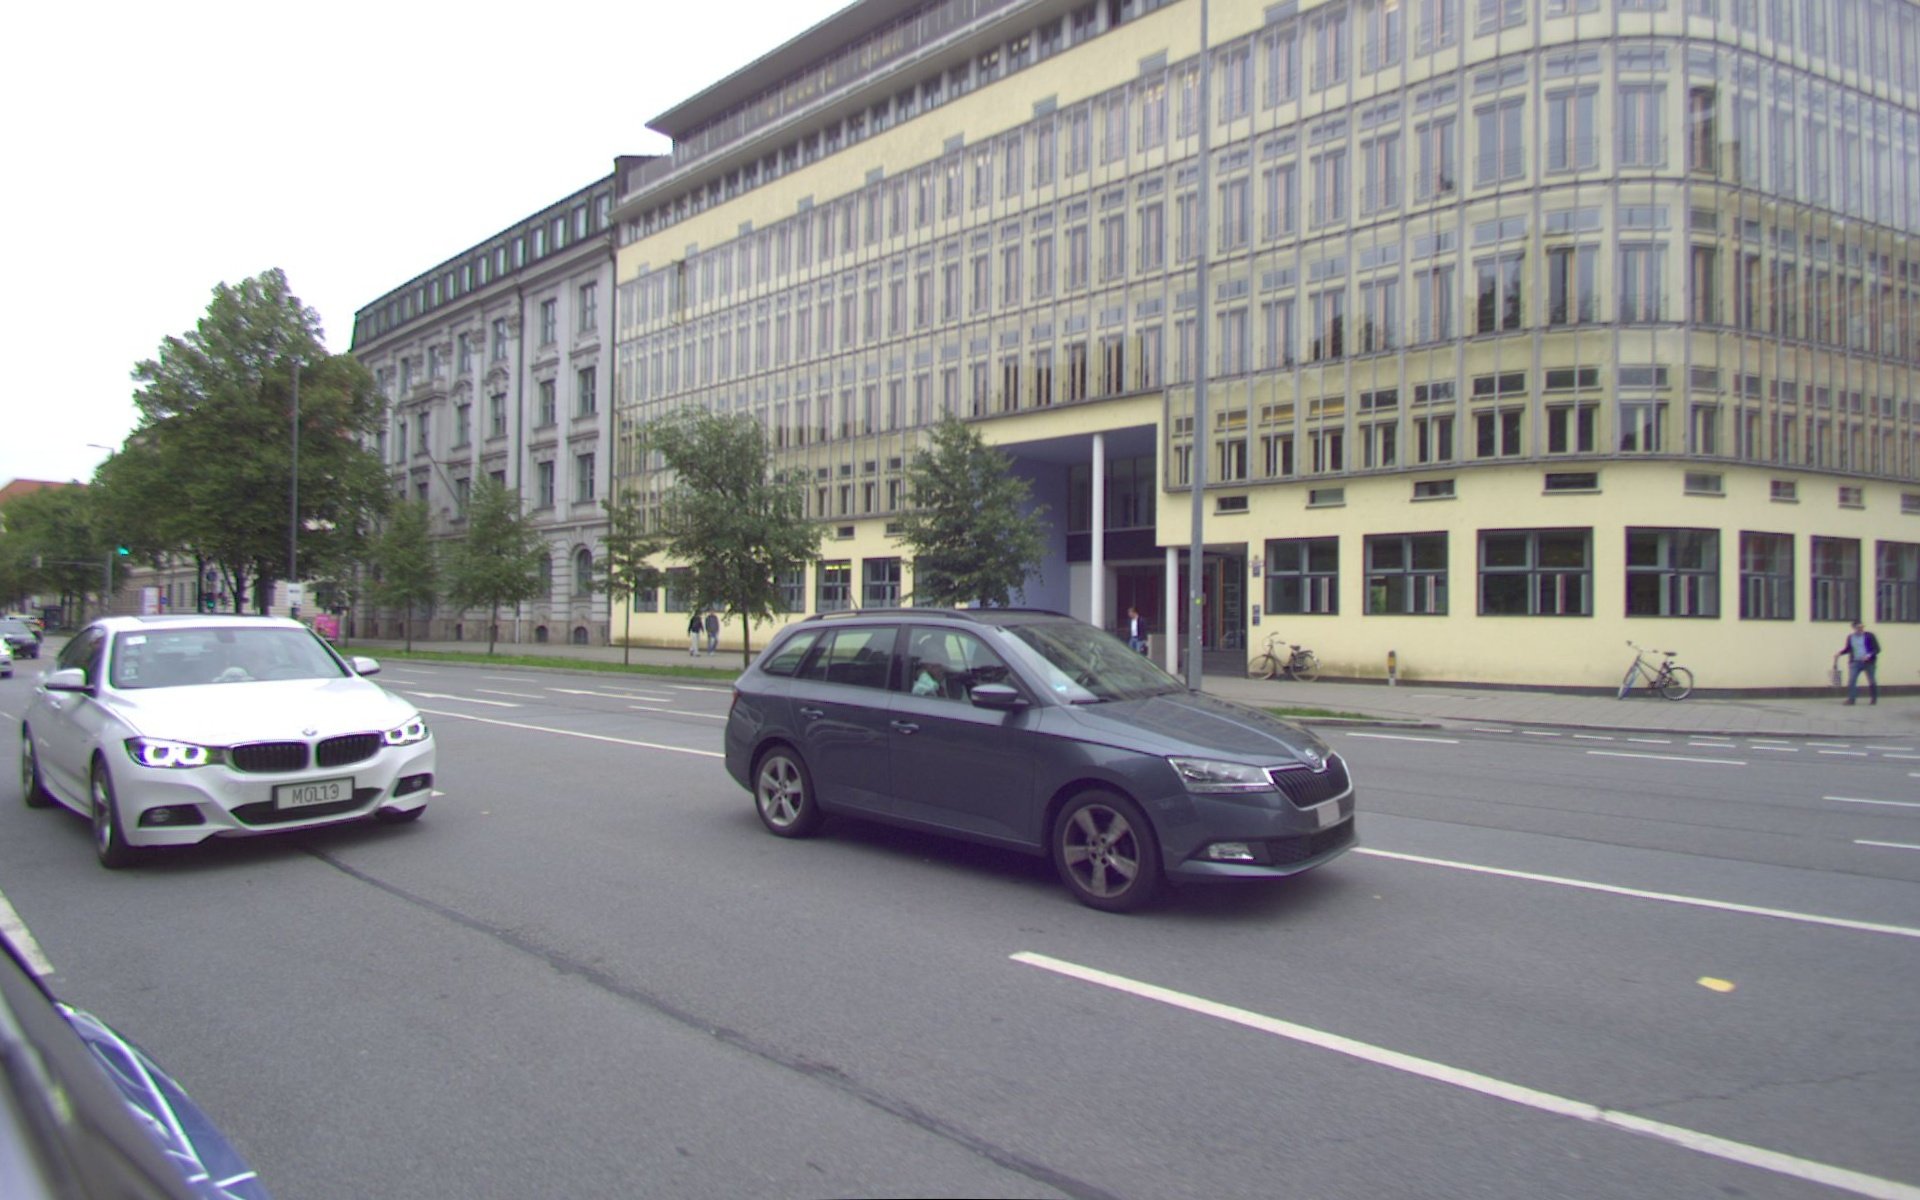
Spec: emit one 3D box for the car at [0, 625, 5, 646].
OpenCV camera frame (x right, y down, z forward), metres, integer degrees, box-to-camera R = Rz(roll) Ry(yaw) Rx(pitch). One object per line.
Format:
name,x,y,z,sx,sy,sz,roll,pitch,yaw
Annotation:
car,-68.167,2.414,70.827,1.746,1.434,4.750,4,-4,-44

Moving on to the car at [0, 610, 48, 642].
car,-54.466,1.528,58.657,4.628,1.762,1.837,-1,-4,42

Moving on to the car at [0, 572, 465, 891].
car,-5.717,0.713,7.576,5.023,1.649,1.774,0,-2,41

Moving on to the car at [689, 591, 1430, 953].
car,0.348,0.723,6.171,4.272,1.458,1.774,0,-2,41

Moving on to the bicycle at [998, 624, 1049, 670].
bicycle,1.989,1.440,31.599,0.637,1.328,1.990,-1,-1,35

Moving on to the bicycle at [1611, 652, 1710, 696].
bicycle,14.437,1.520,20.873,1.710,0.884,0.587,0,-2,-7

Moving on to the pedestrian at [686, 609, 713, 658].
pedestrian,-9.873,1.260,38.355,0.835,1.790,0.609,-1,-1,41

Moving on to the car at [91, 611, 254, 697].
car,-15.669,1.004,20.070,4.335,1.528,1.674,-1,-2,40

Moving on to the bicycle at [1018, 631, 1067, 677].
bicycle,2.569,1.634,31.207,0.573,1.328,1.990,-1,-1,35

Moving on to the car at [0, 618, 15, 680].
car,-24.827,1.174,24.944,4.272,1.458,1.774,0,-2,41

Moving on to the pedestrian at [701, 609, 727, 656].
pedestrian,-9.447,1.242,38.853,0.835,1.790,0.609,-1,-1,41

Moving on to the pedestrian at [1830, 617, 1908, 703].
pedestrian,19.160,1.238,21.342,0.978,1.746,0.817,0,-1,-18

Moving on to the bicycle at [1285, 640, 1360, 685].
bicycle,8.707,1.484,24.341,1.591,1.020,0.567,-1,-1,38

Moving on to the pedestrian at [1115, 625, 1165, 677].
pedestrian,4.932,1.387,27.788,1.086,1.375,0.829,-1,-3,41

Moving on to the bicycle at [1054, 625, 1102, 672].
bicycle,3.569,1.429,30.488,0.573,1.328,1.990,-1,-1,35
